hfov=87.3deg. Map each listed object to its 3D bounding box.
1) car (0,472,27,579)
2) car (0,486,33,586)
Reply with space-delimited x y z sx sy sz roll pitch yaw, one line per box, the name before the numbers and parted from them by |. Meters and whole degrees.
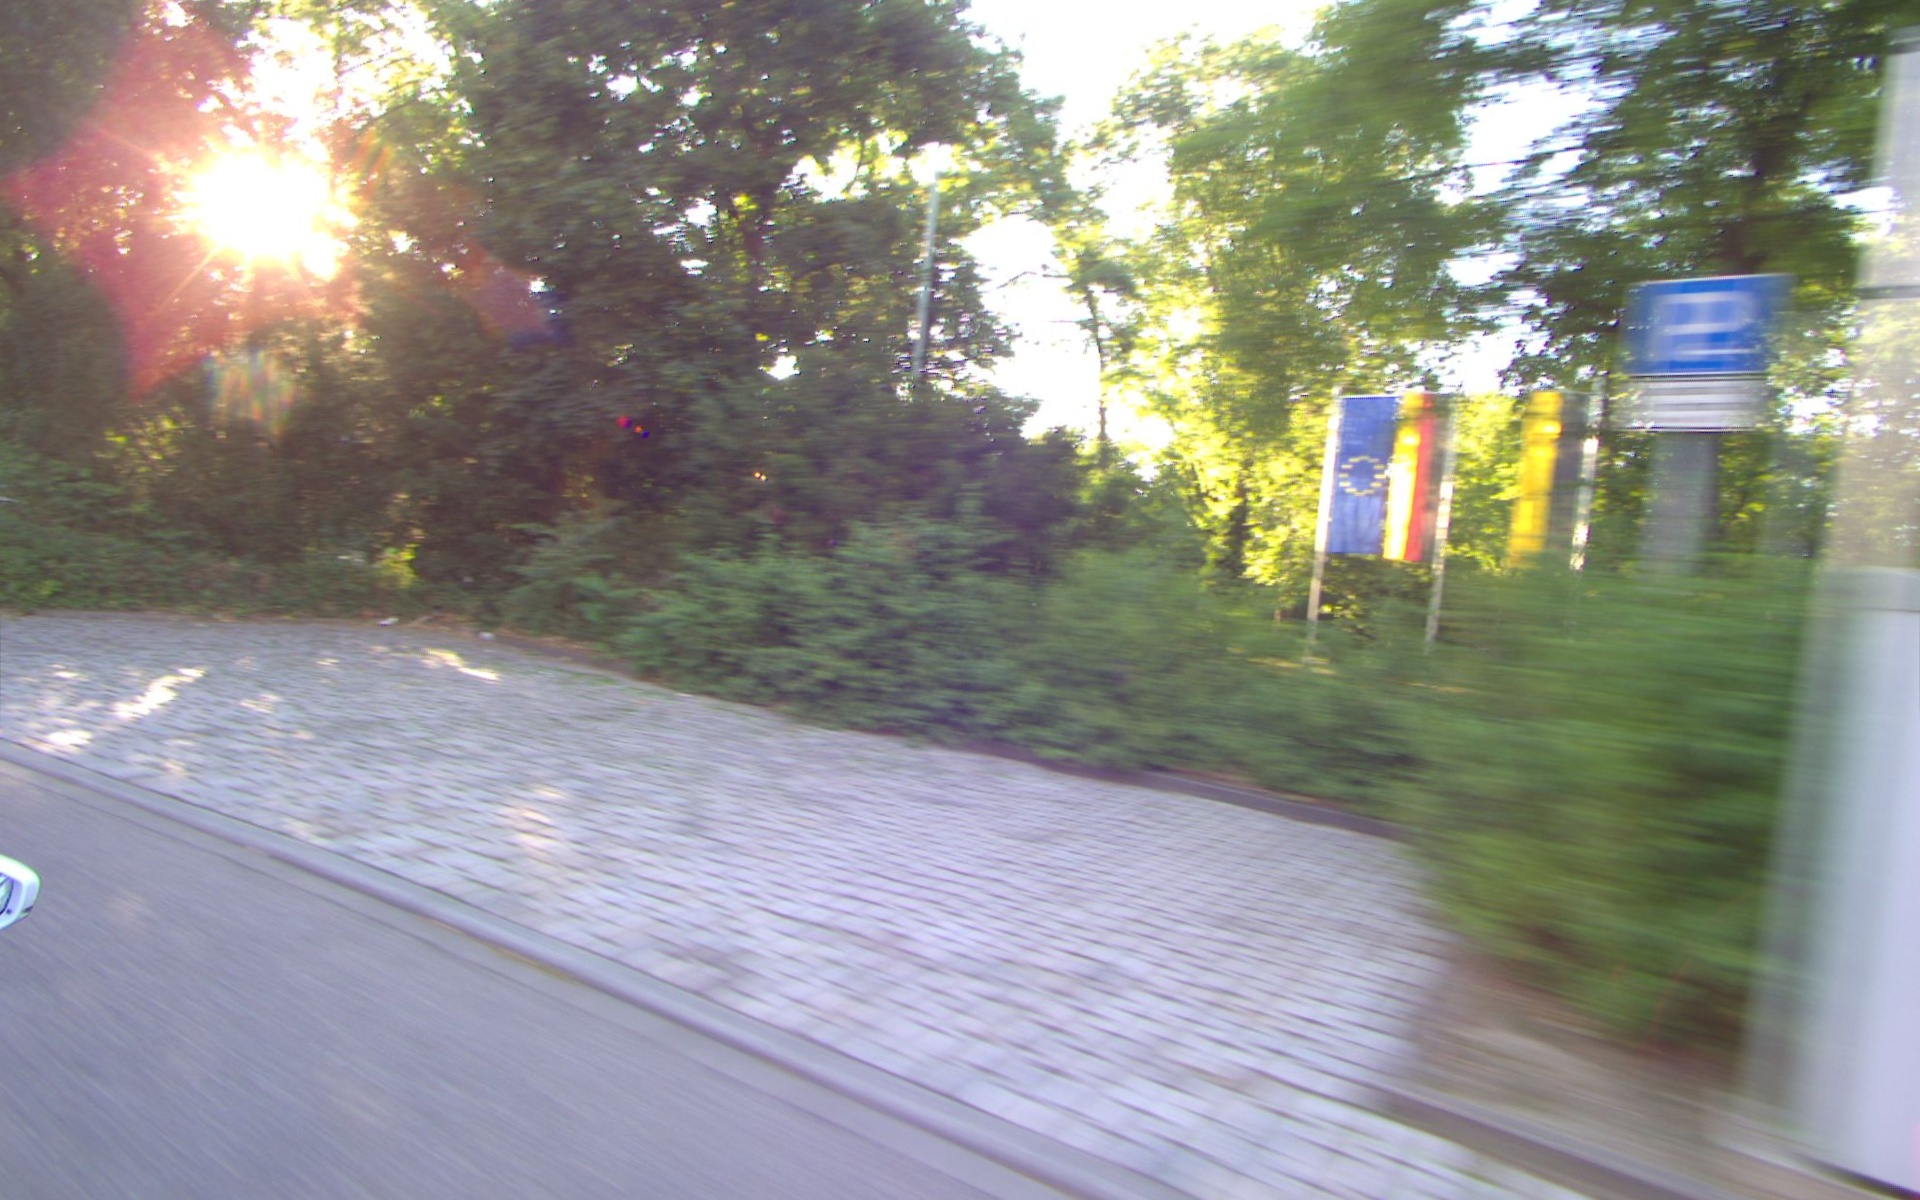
car | -15.955 -1.263 14.057 1.698 1.575 3.985 7 1 35
car | -17.179 -1.196 15.488 1.698 1.575 3.985 8 2 35
